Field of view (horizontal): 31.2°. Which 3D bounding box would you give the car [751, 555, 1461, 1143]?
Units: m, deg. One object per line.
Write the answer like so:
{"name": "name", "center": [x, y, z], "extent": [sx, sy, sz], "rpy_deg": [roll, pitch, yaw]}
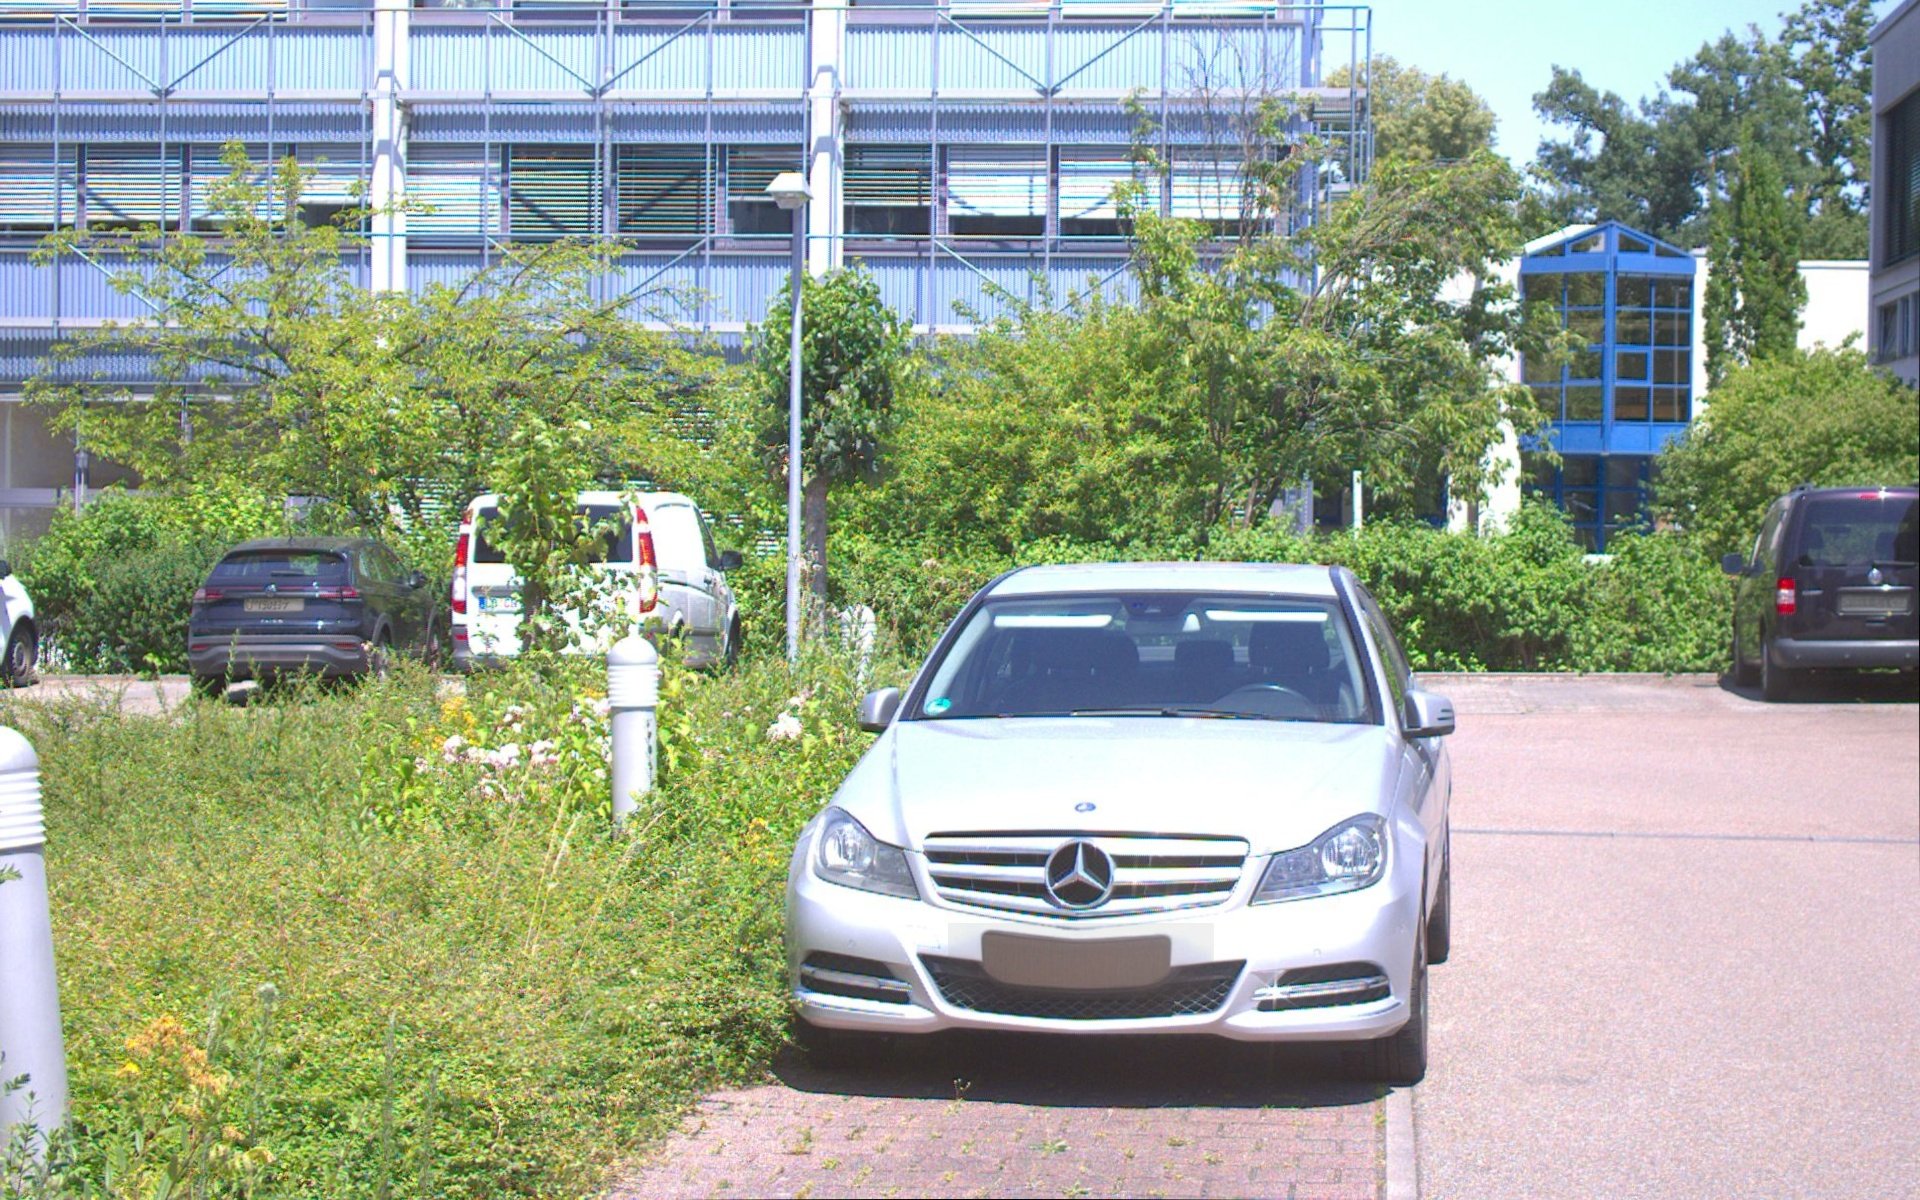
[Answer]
{"name": "car", "center": [0.657, 0.605, 10.833], "extent": [1.730, 1.452, 4.146], "rpy_deg": [0, 1, 9]}

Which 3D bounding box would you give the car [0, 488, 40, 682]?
{"name": "car", "center": [-10.497, -0.094, 32.215], "extent": [1.882, 1.884, 4.802], "rpy_deg": [0, 2, 8]}

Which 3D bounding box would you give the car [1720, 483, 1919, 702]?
{"name": "car", "center": [7.929, -0.121, 30.831], "extent": [1.743, 1.830, 3.999], "rpy_deg": [0, 2, 6]}

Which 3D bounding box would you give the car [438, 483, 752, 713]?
{"name": "car", "center": [-3.220, -0.096, 31.300], "extent": [1.913, 1.898, 4.807], "rpy_deg": [0, 2, 5]}

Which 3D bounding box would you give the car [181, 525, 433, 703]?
{"name": "car", "center": [-6.051, 0.081, 32.247], "extent": [1.754, 1.471, 4.001], "rpy_deg": [-1, 2, -3]}
